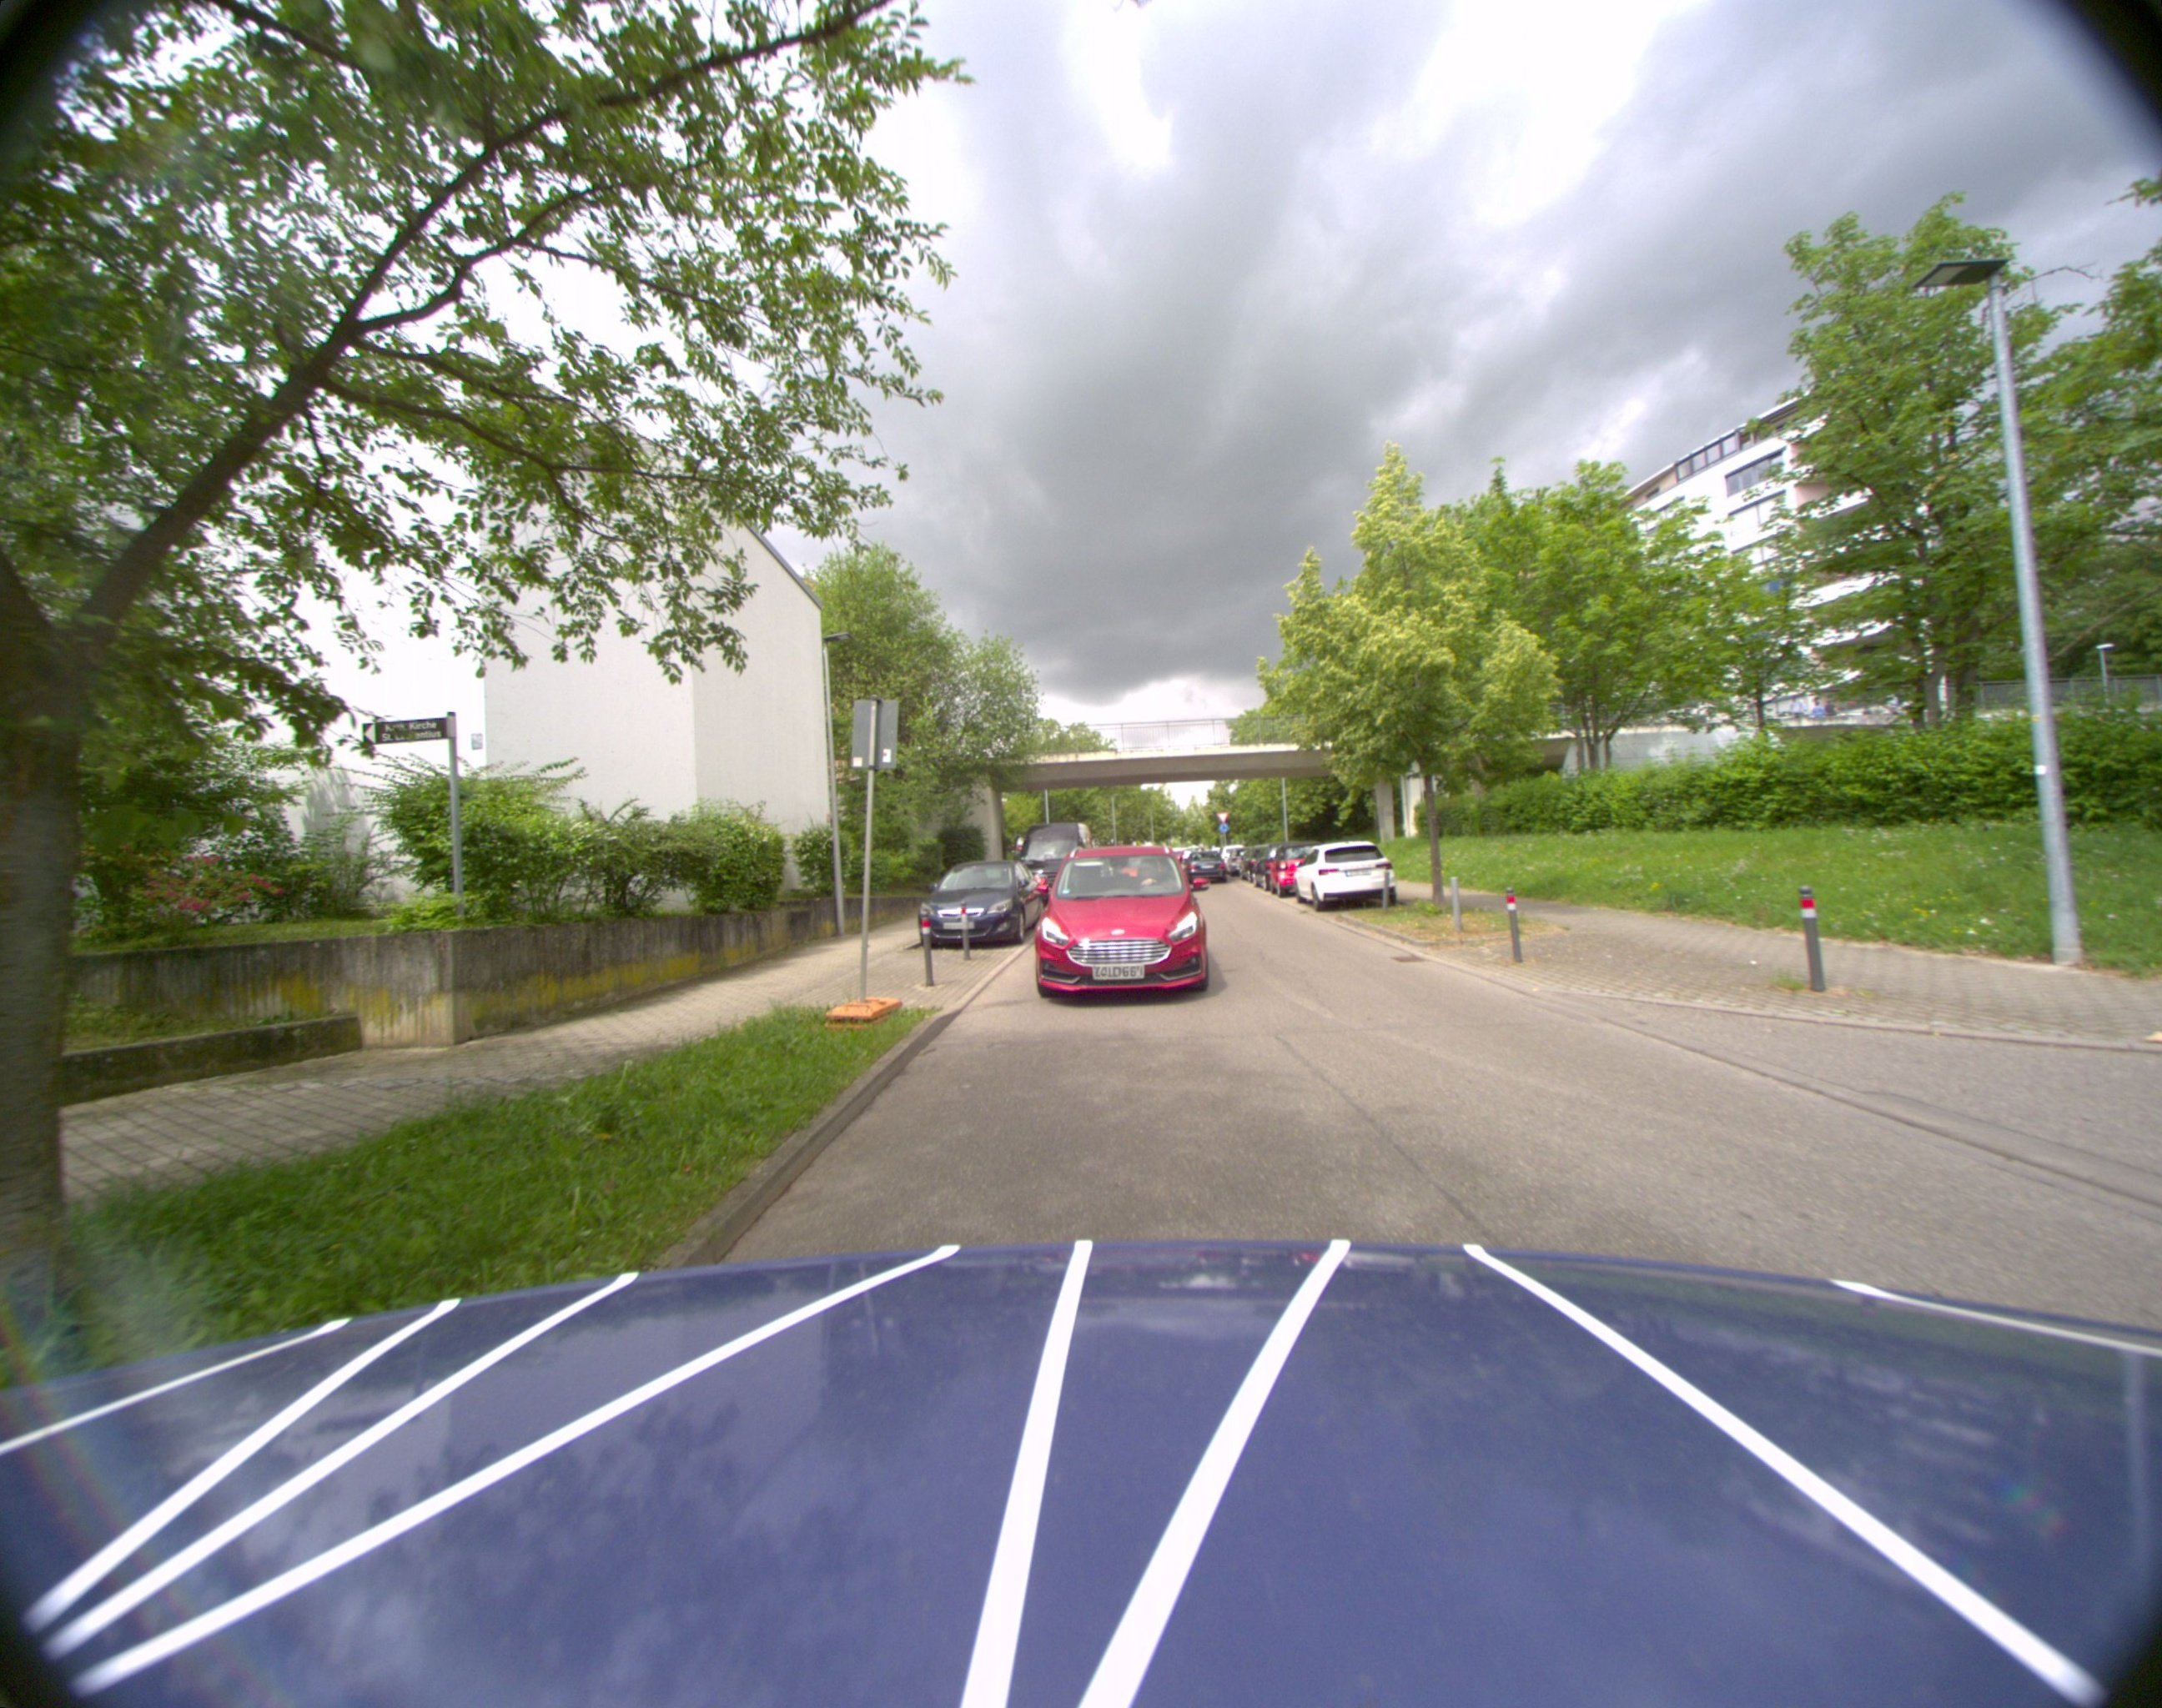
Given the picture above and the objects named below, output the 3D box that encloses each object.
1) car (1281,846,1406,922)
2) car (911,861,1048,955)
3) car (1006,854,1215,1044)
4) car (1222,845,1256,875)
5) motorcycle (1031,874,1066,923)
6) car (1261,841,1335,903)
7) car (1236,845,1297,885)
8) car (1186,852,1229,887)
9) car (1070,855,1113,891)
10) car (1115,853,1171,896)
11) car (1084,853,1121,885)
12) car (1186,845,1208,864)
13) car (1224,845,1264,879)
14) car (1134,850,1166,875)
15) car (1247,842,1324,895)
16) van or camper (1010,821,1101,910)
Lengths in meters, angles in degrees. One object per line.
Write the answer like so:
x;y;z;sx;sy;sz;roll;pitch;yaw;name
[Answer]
6.038;0.608;17.978;1.812;1.396;4.049;-6;0;6;car
-1.739;0.899;14.302;1.694;1.412;4.001;-2;0;5;car
0.475;0.866;8.678;1.812;1.600;3.723;-2;1;7;car
9.266;0.315;44.732;1.811;1.561;3.724;-2;1;10;car
-0.819;1.080;18.862;0.710;1.061;1.929;-3;1;-6;motorcycle
6.368;0.481;22.561;1.597;1.575;2.686;-7;0;8;car
7.934;0.408;32.920;1.812;1.472;4.487;-4;1;5;car
5.683;0.640;34.317;1.755;1.411;4.370;-2;0;9;car
0.540;0.855;35.860;1.604;1.478;3.723;-3;1;7;car
2.453;0.763;29.389;1.860;1.434;4.003;-3;-1;8;car
1.228;0.787;42.051;1.604;1.534;3.723;-3;1;7;car
10.312;0.010;67.605;1.811;1.561;3.724;-1;1;8;car
8.419;0.382;39.495;1.811;1.447;3.863;-6;0;10;car
4.578;0.506;49.864;1.779;1.443;4.002;-2;1;9;car
7.071;0.470;26.665;1.812;1.575;3.987;-5;0;5;car
-0.650;0.284;24.665;1.997;2.481;5.760;-3;1;7;van or camper
